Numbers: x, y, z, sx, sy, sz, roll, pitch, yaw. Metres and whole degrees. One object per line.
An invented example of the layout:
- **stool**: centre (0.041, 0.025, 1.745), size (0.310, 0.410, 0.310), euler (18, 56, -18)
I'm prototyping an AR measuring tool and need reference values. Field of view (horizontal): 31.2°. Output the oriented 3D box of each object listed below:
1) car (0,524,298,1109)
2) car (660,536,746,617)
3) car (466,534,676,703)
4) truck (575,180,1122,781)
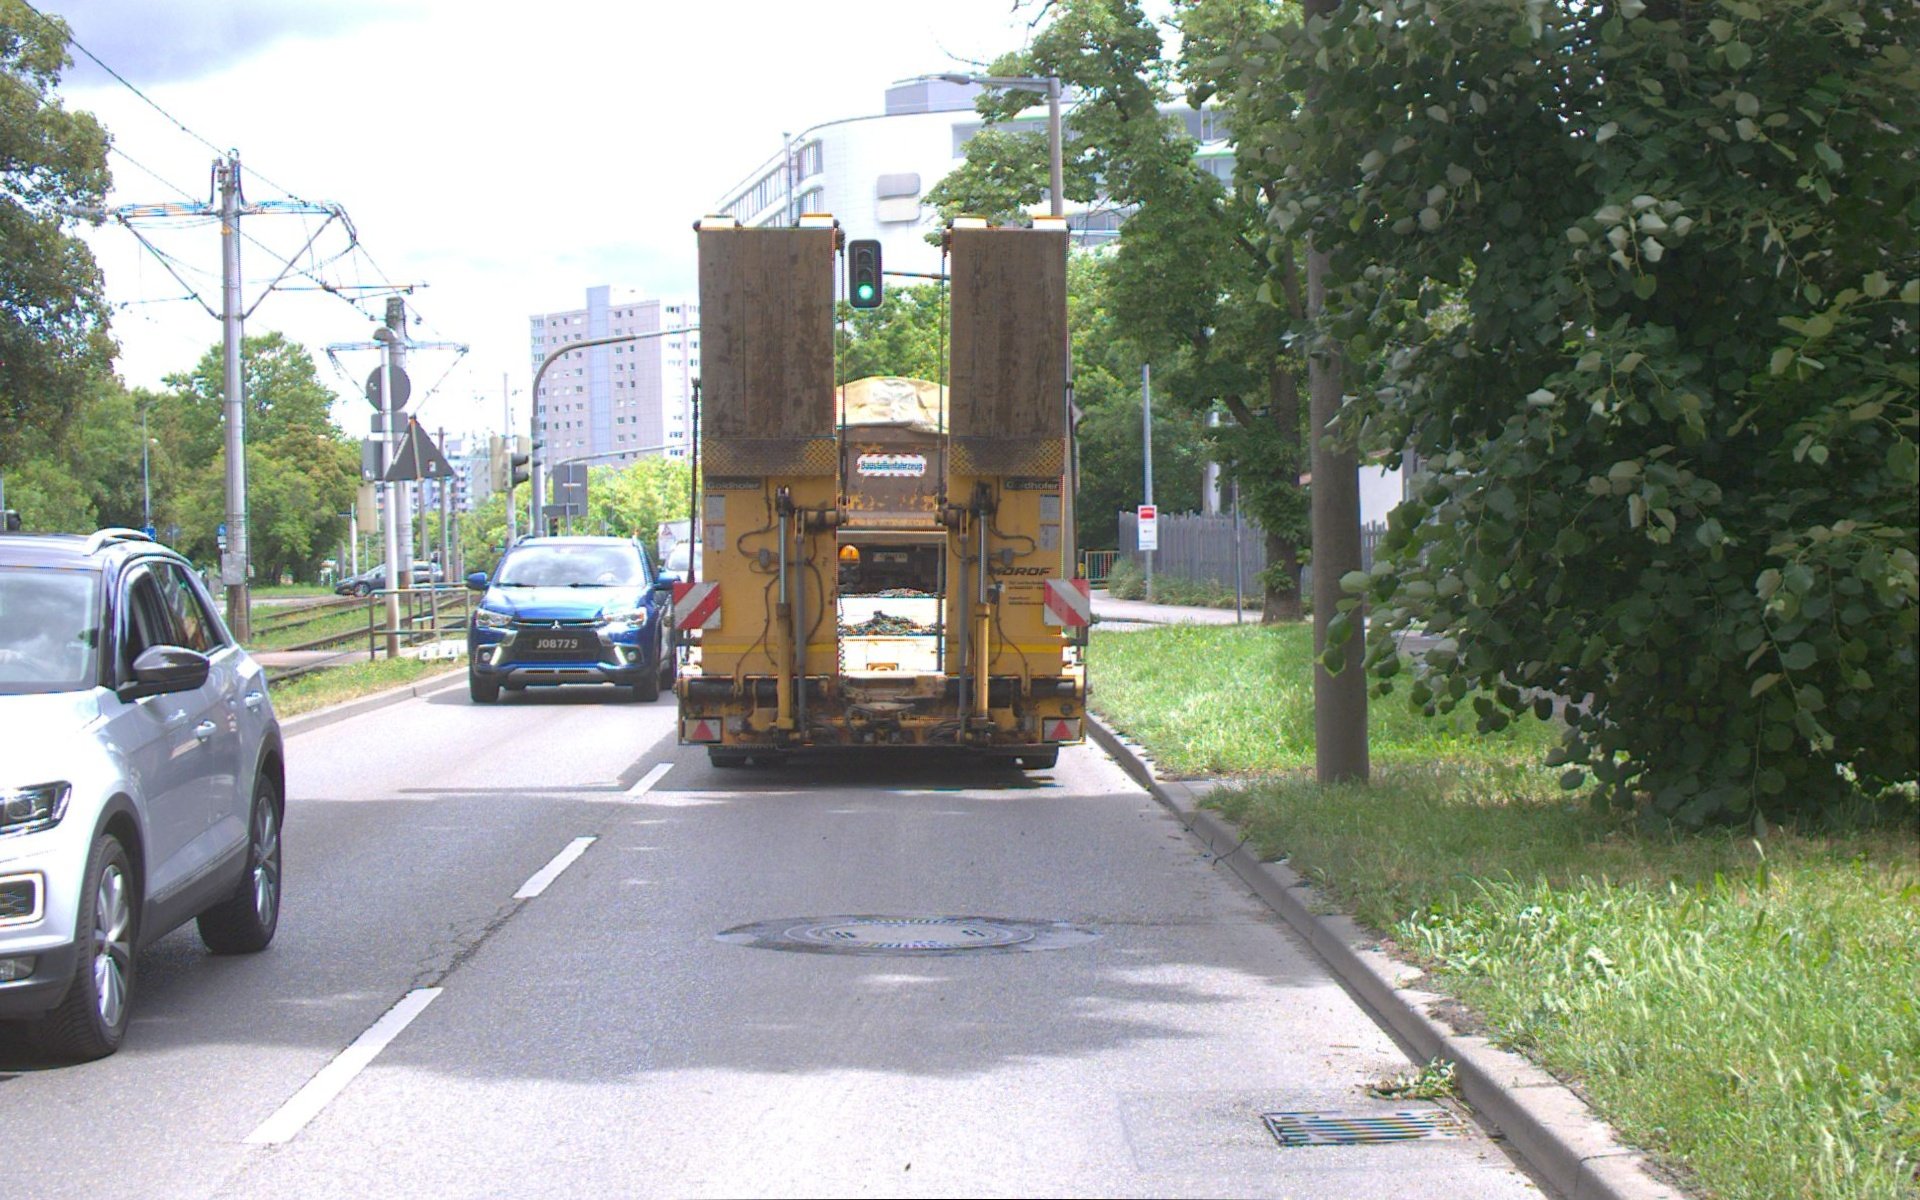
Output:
- **car**: centre (-3.323, 0.531, 11.102), size (1.716, 1.539, 4.001), euler (0, 1, -2)
- **car**: centre (-5.517, -0.514, 74.189), size (1.707, 1.670, 4.228), euler (0, 1, -3)
- **car**: centre (-3.787, 0.132, 34.050), size (1.713, 1.561, 4.167), euler (0, 1, -2)
- **truck**: centre (-0.937, -0.728, 27.148), size (3.316, 3.638, 12.563), euler (0, 0, -2)
